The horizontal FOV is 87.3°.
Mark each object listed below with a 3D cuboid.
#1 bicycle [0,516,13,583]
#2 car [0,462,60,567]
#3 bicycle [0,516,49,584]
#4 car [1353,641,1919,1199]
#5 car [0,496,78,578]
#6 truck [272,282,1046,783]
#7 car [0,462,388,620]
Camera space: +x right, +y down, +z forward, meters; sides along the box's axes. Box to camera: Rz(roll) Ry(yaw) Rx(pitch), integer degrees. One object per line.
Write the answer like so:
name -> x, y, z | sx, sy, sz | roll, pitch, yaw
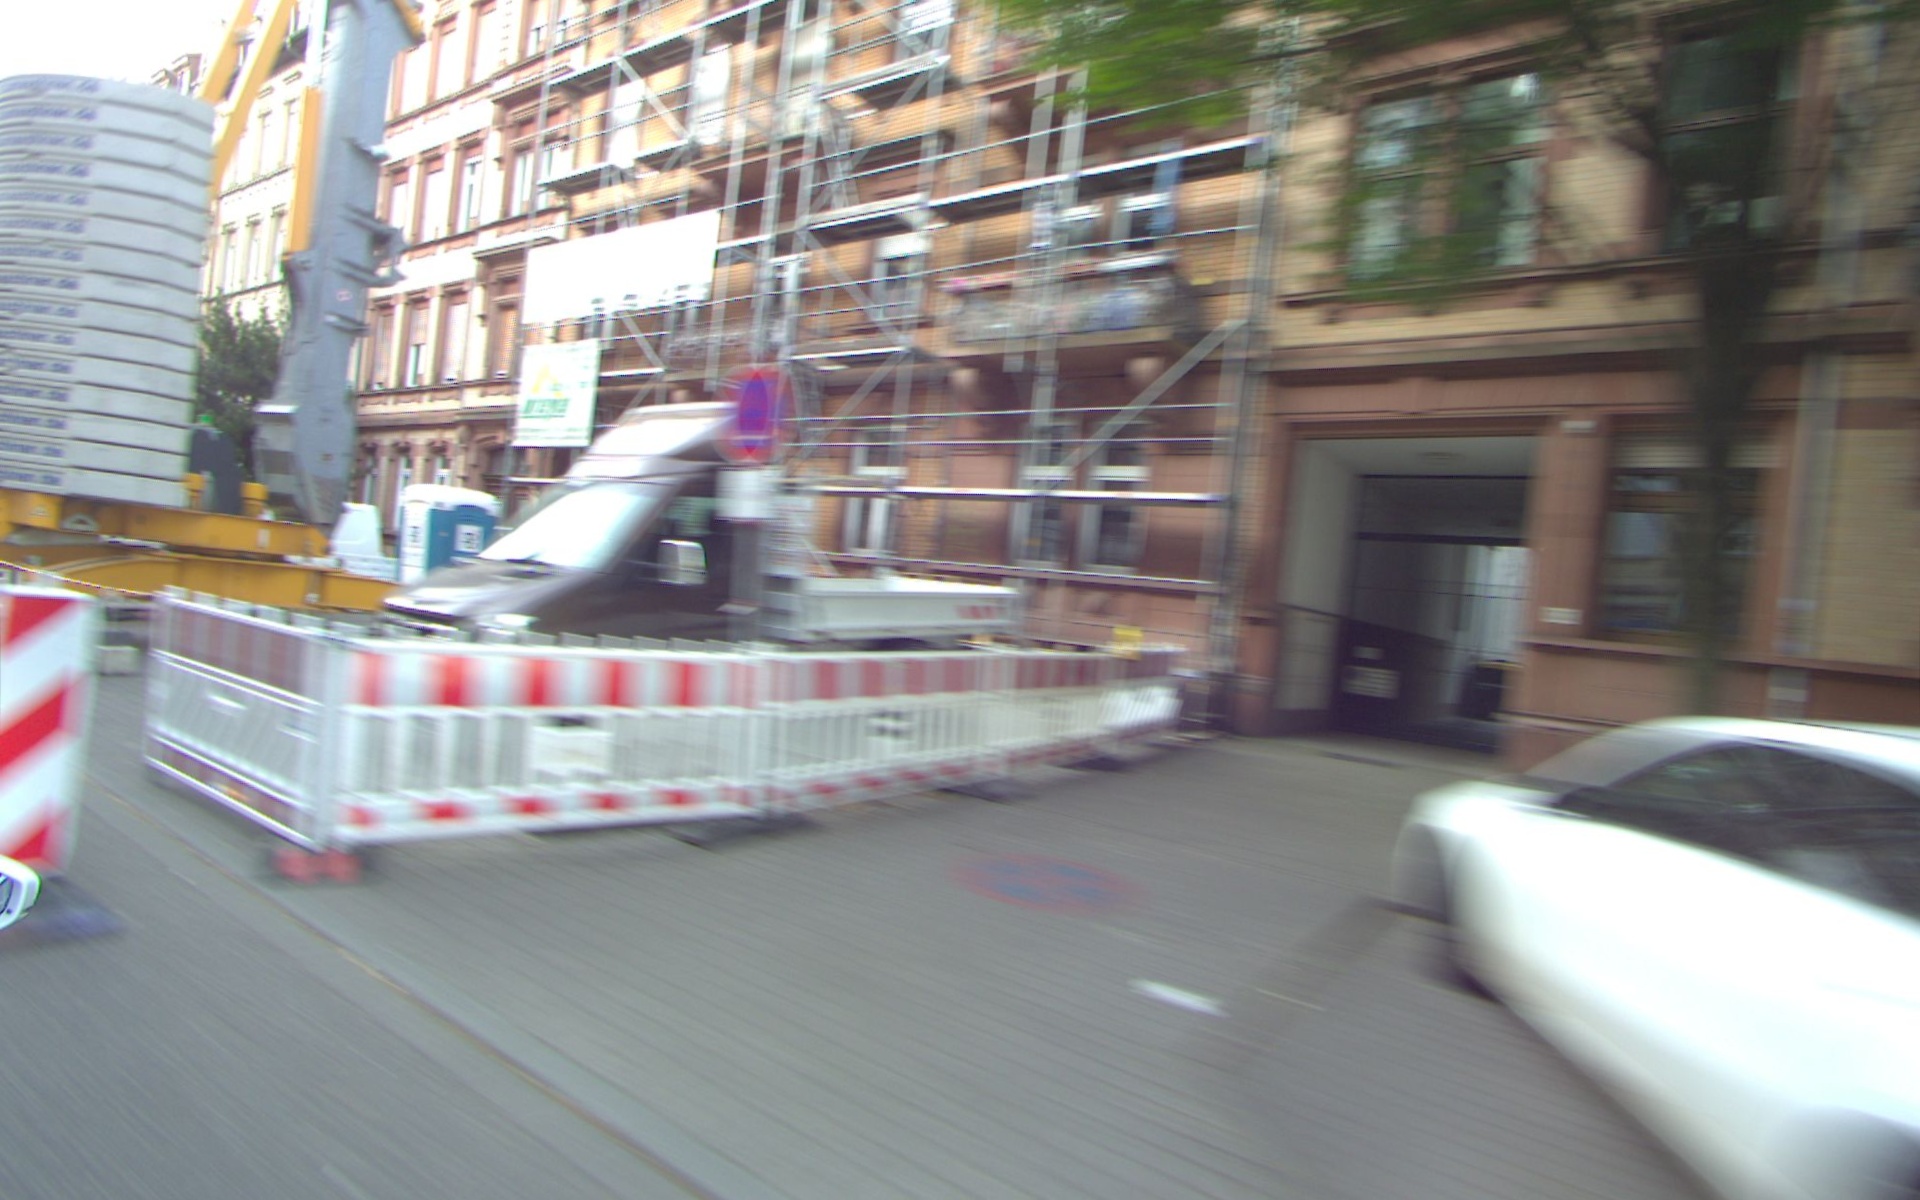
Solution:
bicycle -> -17.568, -0.982, 17.491 | 1.780, 1.151, 0.496 | 7, 2, 5
car -> -23.834, -2.188, 22.705 | 1.962, 2.392, 4.941 | 6, 0, 10
bicycle -> -17.548, -0.962, 18.124 | 1.780, 1.151, 0.496 | 7, 2, 2
car -> 2.723, 1.054, 2.856 | 1.653, 1.508, 3.993 | 6, 1, 2
car -> -19.673, -1.361, 19.220 | 1.812, 1.535, 3.869 | 6, 0, 10
truck -> -2.177, -0.148, 9.510 | 2.488, 3.111, 6.479 | 5, -3, 39
car -> -12.210, -0.840, 15.853 | 1.869, 1.981, 5.170 | 8, 2, 35
